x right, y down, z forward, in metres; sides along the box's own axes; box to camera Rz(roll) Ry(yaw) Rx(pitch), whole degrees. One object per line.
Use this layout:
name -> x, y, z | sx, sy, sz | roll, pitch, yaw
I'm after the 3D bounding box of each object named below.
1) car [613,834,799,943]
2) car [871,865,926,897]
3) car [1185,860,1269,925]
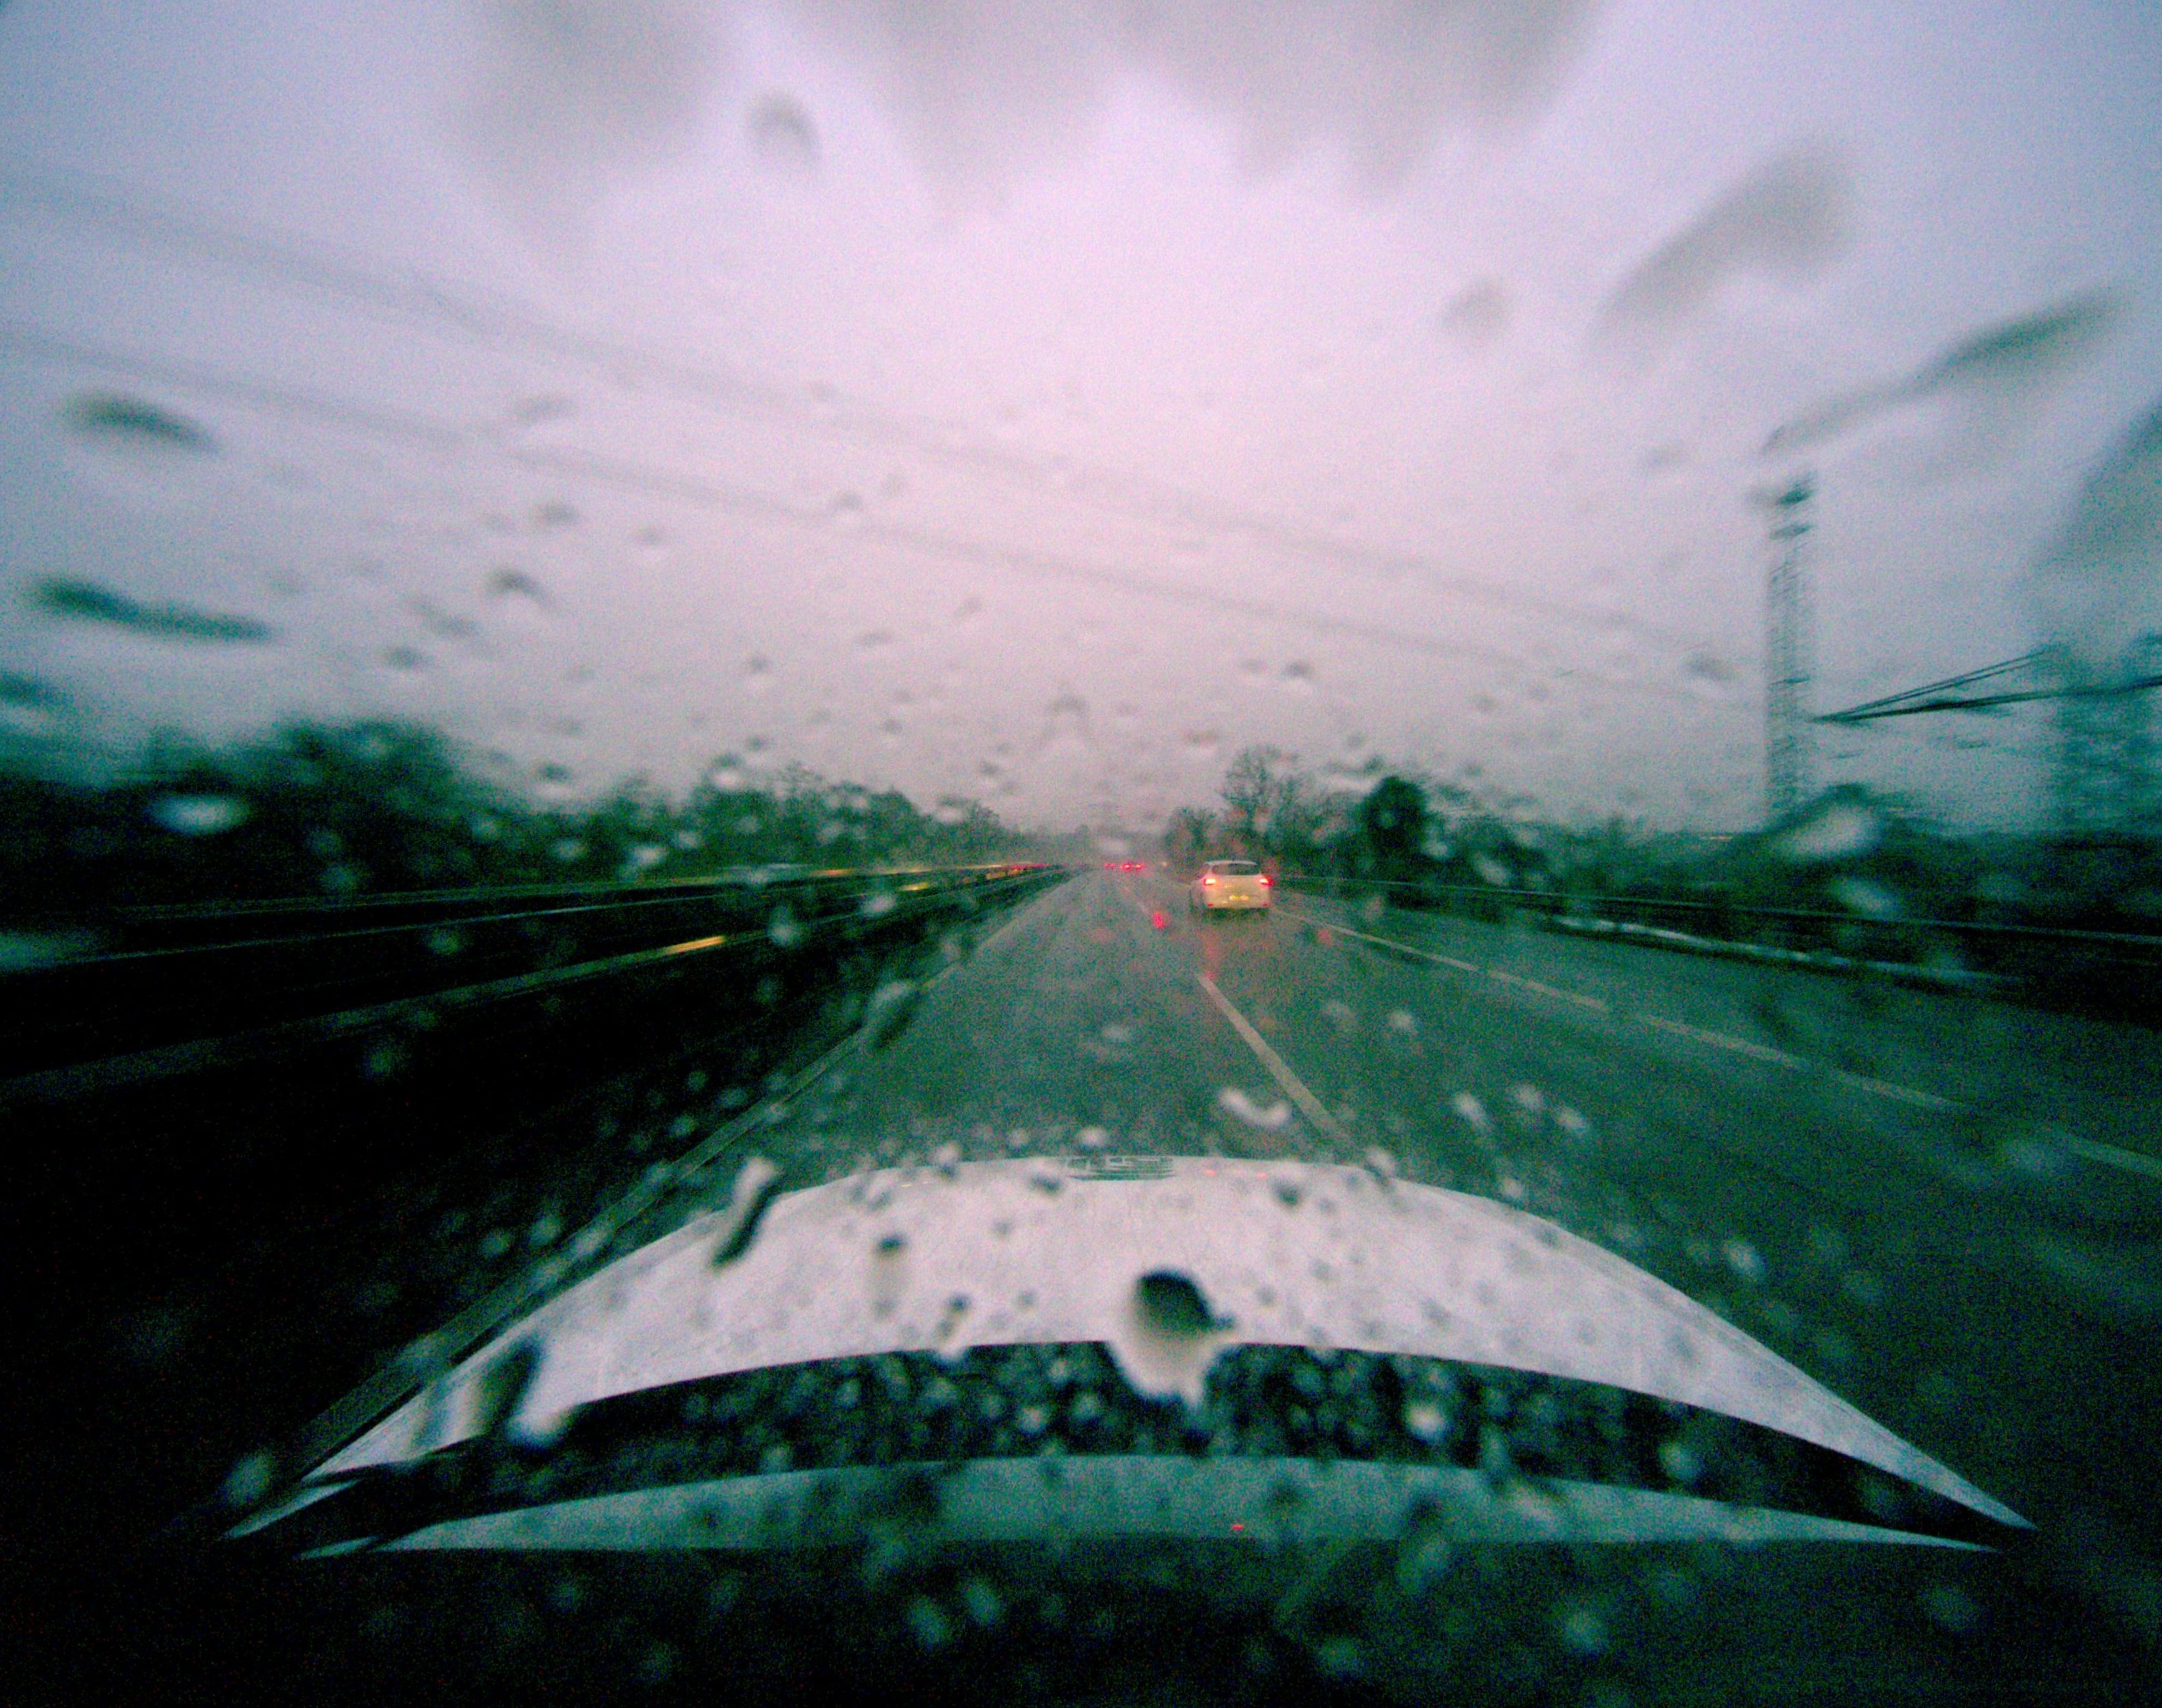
car -> -7.773, 0.654, 17.365 | 1.986, 2.013, 4.001 | -1, 0, 1
car -> -11.100, 1.613, 49.863 | 2.156, 1.791, 4.811 | -1, 0, 2
car -> 3.997, 1.016, 22.877 | 1.838, 1.636, 3.770 | -1, -1, 2
